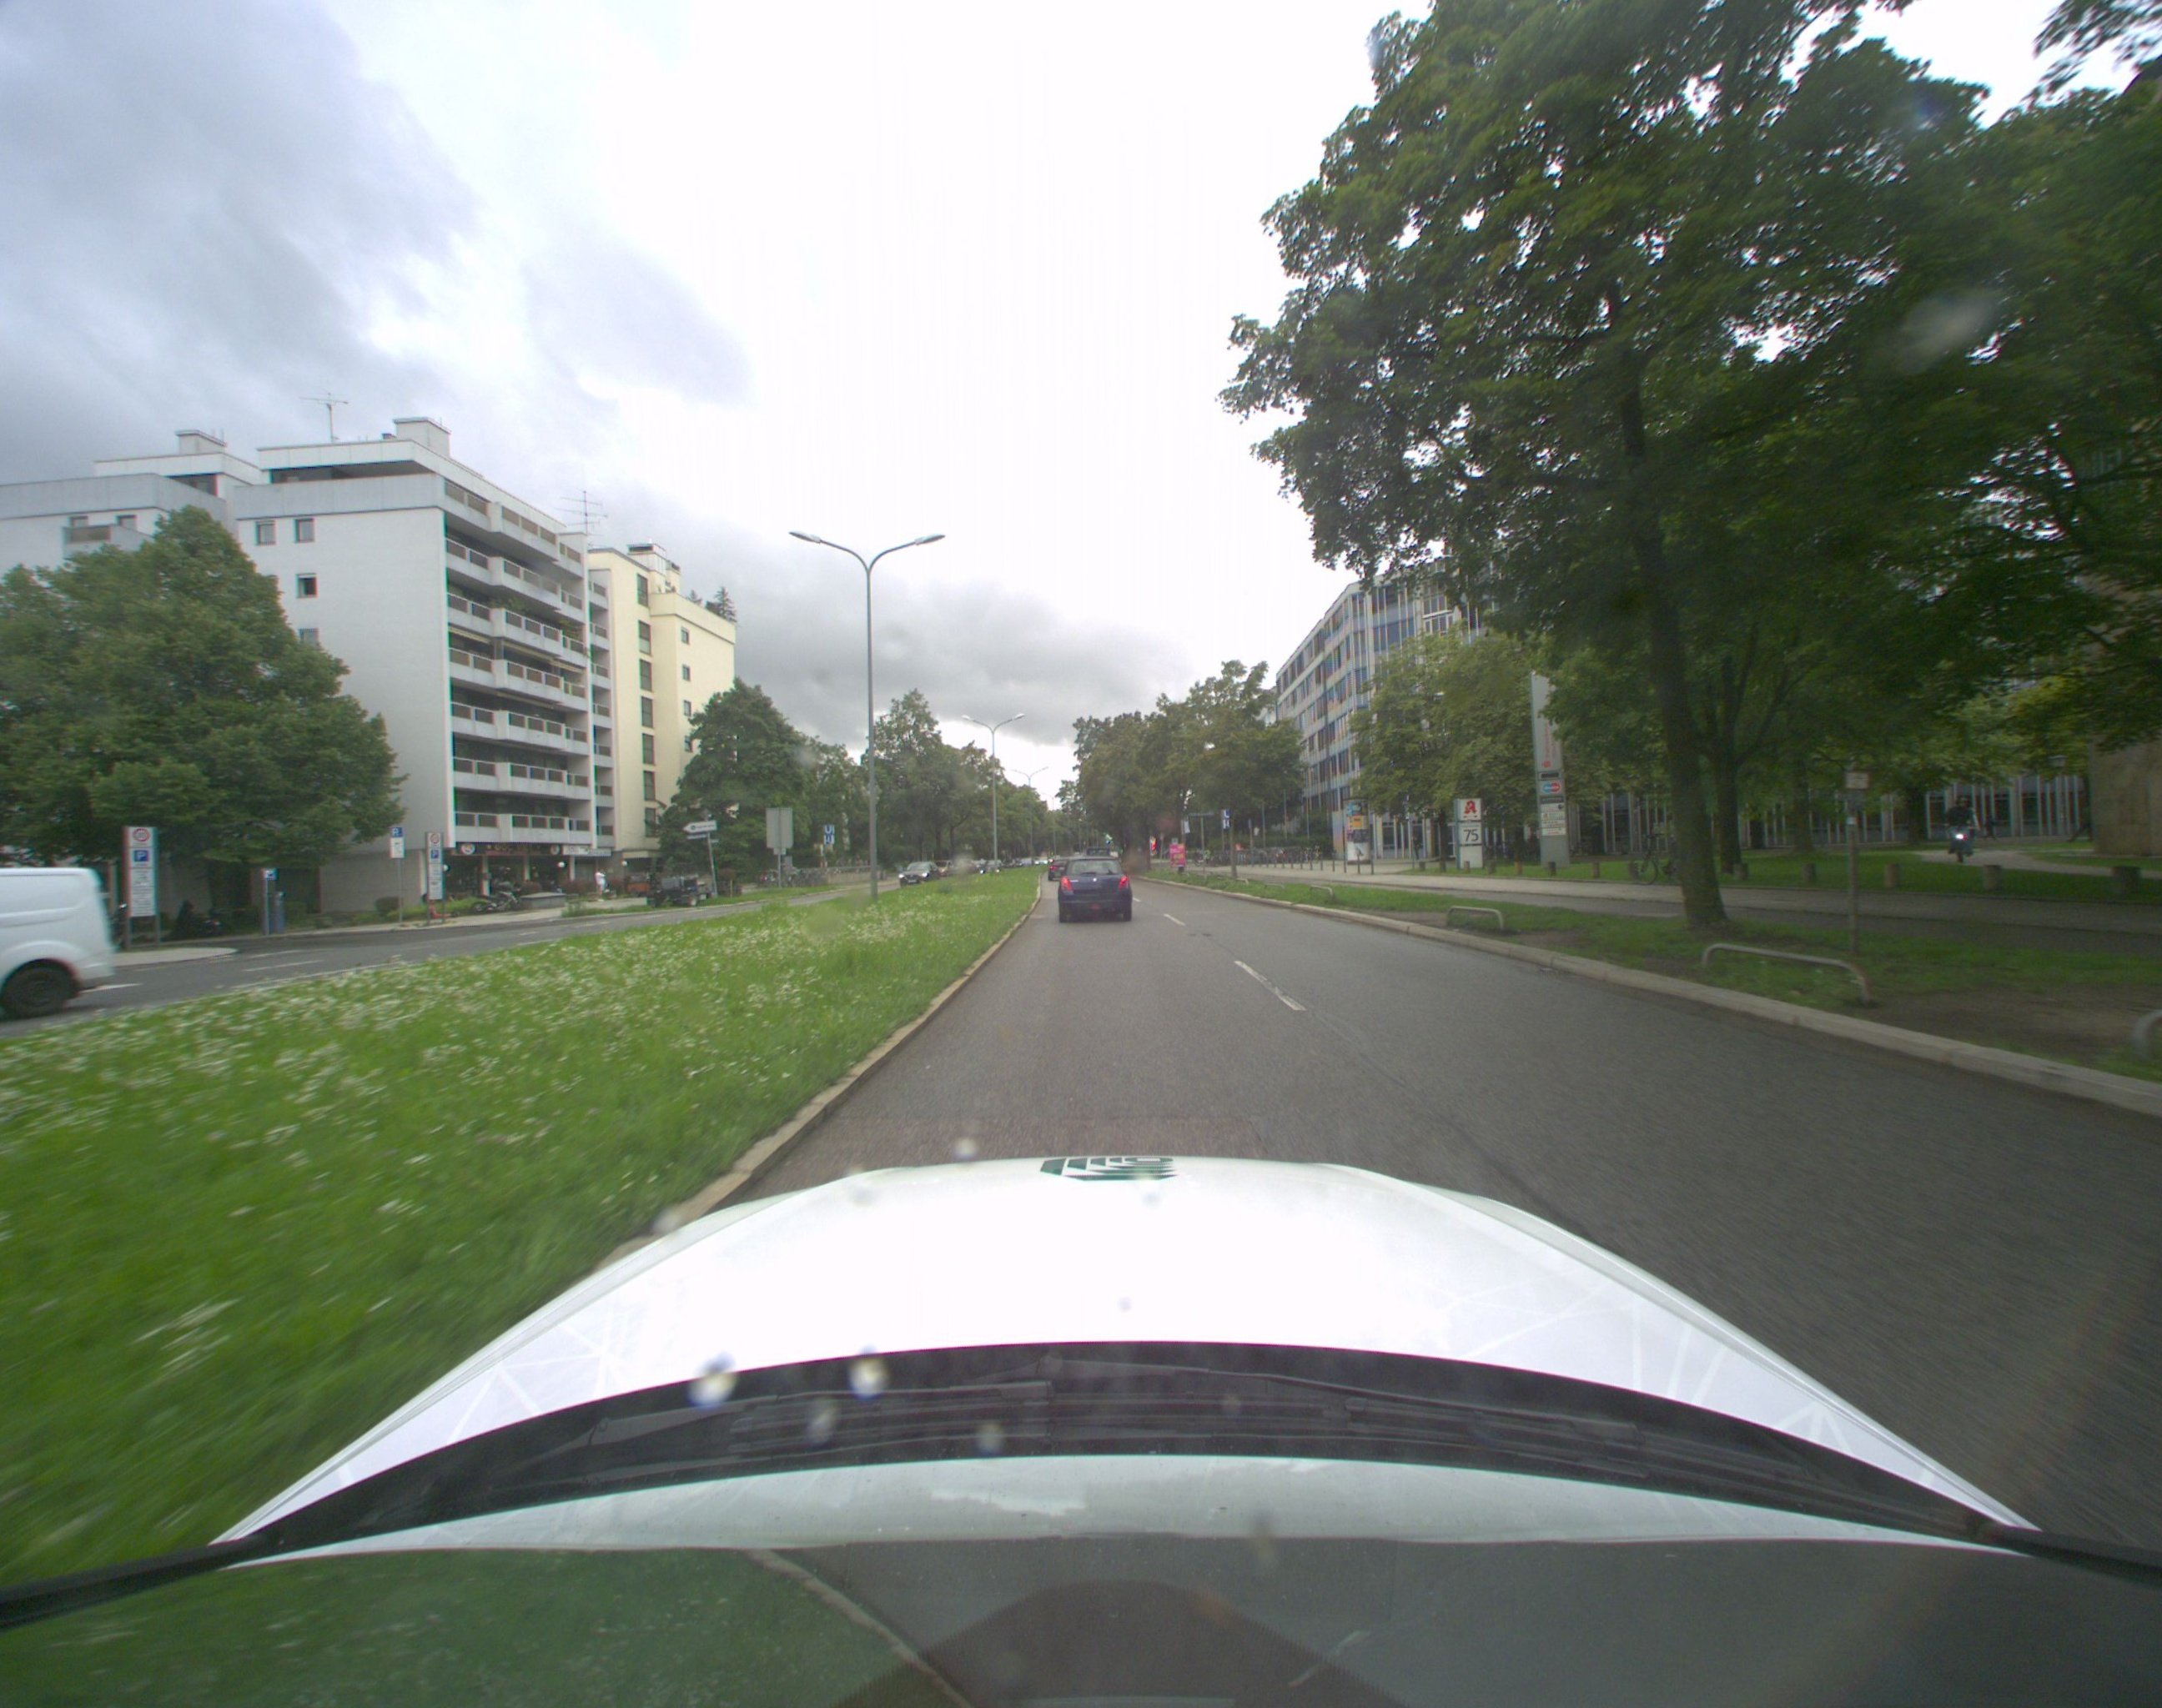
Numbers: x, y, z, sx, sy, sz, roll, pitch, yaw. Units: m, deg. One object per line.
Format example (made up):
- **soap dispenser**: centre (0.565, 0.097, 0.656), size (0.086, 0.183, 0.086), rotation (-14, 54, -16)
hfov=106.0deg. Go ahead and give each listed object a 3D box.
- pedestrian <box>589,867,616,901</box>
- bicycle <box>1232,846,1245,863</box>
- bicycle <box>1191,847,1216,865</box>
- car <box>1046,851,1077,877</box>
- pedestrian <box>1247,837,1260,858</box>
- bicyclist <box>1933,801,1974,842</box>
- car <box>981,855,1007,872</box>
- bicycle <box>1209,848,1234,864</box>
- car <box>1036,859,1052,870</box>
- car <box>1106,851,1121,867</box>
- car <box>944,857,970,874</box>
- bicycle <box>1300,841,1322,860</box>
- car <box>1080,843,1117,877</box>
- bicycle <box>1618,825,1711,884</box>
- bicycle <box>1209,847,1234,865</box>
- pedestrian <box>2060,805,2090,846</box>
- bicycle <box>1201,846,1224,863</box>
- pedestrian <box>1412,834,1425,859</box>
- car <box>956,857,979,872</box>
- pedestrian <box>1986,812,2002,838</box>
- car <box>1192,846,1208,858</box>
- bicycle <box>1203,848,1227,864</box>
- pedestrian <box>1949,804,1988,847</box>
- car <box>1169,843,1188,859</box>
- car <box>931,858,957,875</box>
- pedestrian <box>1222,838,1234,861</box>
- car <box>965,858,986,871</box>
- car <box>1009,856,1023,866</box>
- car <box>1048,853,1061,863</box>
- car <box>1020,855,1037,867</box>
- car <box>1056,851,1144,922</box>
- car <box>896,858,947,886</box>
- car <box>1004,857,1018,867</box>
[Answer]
- **pedestrian**: centre (-24.889, 1.558, 42.386), size (0.667, 1.708, 1.130), rotation (-3, 0, -3)
- **bicycle**: centre (11.116, 0.016, 57.674), size (0.486, 1.189, 1.954), rotation (-3, 0, 0)
- **bicycle**: centre (9.659, 0.162, 64.352), size (1.961, 1.188, 0.591), rotation (-6, 2, -32)
- **car**: centre (-1.305, 0.632, 51.904), size (1.795, 1.499, 3.655), rotation (-3, 0, -3)
- **pedestrian**: centre (14.569, -0.521, 68.775), size (0.754, 1.714, 0.776), rotation (-3, 0, -38)
- **bicyclist**: centre (24.879, -0.927, 23.216), size (0.964, 1.129, 0.718), rotation (-3, 0, -40)
- **car**: centre (-8.103, 0.872, 76.107), size (1.776, 1.405, 4.103), rotation (-3, 0, 1)
- **bicycle**: centre (10.353, 0.144, 60.072), size (2.052, 1.089, 0.597), rotation (-4, -2, -42)
- **car**: centre (-5.481, 1.493, 121.693), size (1.908, 1.484, 4.867), rotation (-3, 0, 2)
- **car**: centre (4.670, 0.695, 117.493), size (1.979, 2.157, 5.561), rotation (-3, 0, 4)
- **car**: centre (-12.964, 1.193, 85.302), size (1.731, 1.643, 4.689), rotation (-1, 0, 3)
- **bicycle**: centre (16.295, -0.258, 57.683), size (0.508, 1.294, 2.472), rotation (-3, 0, -7)
- **car**: centre (1.391, 0.440, 62.057), size (2.407, 2.444, 5.093), rotation (-1, 0, 5)
- **bicycle**: centre (13.341, 0.012, 18.688), size (0.619, 1.250, 1.918), rotation (-3, 0, -4)
- **bicycle**: centre (10.123, 0.141, 58.562), size (2.044, 1.099, 0.573), rotation (-5, -1, -43)
- **pedestrian**: centre (40.944, -1.170, 33.549), size (0.501, 1.631, 0.515), rotation (-3, 0, 9)
- **bicycle**: centre (10.235, 0.038, 63.496), size (1.966, 1.108, 0.573), rotation (-7, 3, -42)
- **pedestrian**: centre (24.329, -0.548, 58.779), size (0.681, 1.772, 0.772), rotation (-3, 0, 13)
- **car**: centre (-12.690, 1.182, 91.224), size (1.732, 1.651, 4.608), rotation (0, 0, 1)
- **pedestrian**: centre (59.316, -1.862, 52.912), size (0.480, 1.658, 0.485), rotation (-3, 0, 0)
- **car**: centre (18.231, -0.311, 124.778), size (1.835, 1.818, 4.473), rotation (-3, 0, 1)
- **bicycle**: centre (10.020, 0.147, 60.886), size (1.965, 1.066, 0.573), rotation (-6, 0, -42)
- **pedestrian**: centre (36.257, -1.164, 33.277), size (0.588, 1.678, 0.860), rotation (-3, 0, -17)
- **car**: centre (14.838, -0.402, 124.345), size (2.256, 2.306, 6.270), rotation (-3, 0, 1)
- **car**: centre (-13.415, 1.205, 79.832), size (1.639, 1.614, 3.824), rotation (-1, 0, 5)
- **pedestrian**: centre (12.449, -0.380, 69.143), size (0.652, 1.899, 0.745), rotation (-3, 0, -14)
- **car**: centre (-12.419, 1.261, 96.053), size (1.731, 1.483, 4.338), rotation (0, 0, 3)
- **car**: centre (-10.331, 1.120, 129.644), size (1.618, 1.423, 4.197), rotation (0, 0, 4)
- **car**: centre (-4.665, 0.638, 143.438), size (1.759, 1.624, 4.380), rotation (-3, 0, 3)
- **car**: centre (-6.651, 0.834, 102.857), size (1.685, 1.402, 3.969), rotation (-3, 0, 2)
- **car**: centre (0.432, 0.703, 19.619), size (1.890, 1.499, 3.660), rotation (-2, 0, 0)
- **car**: centre (-9.556, 1.041, 49.136), size (1.949, 1.480, 4.263), rotation (-3, 0, 4)
- **car**: centre (-10.632, 1.219, 124.373), size (1.574, 1.423, 4.366), rotation (0, 0, 3)
